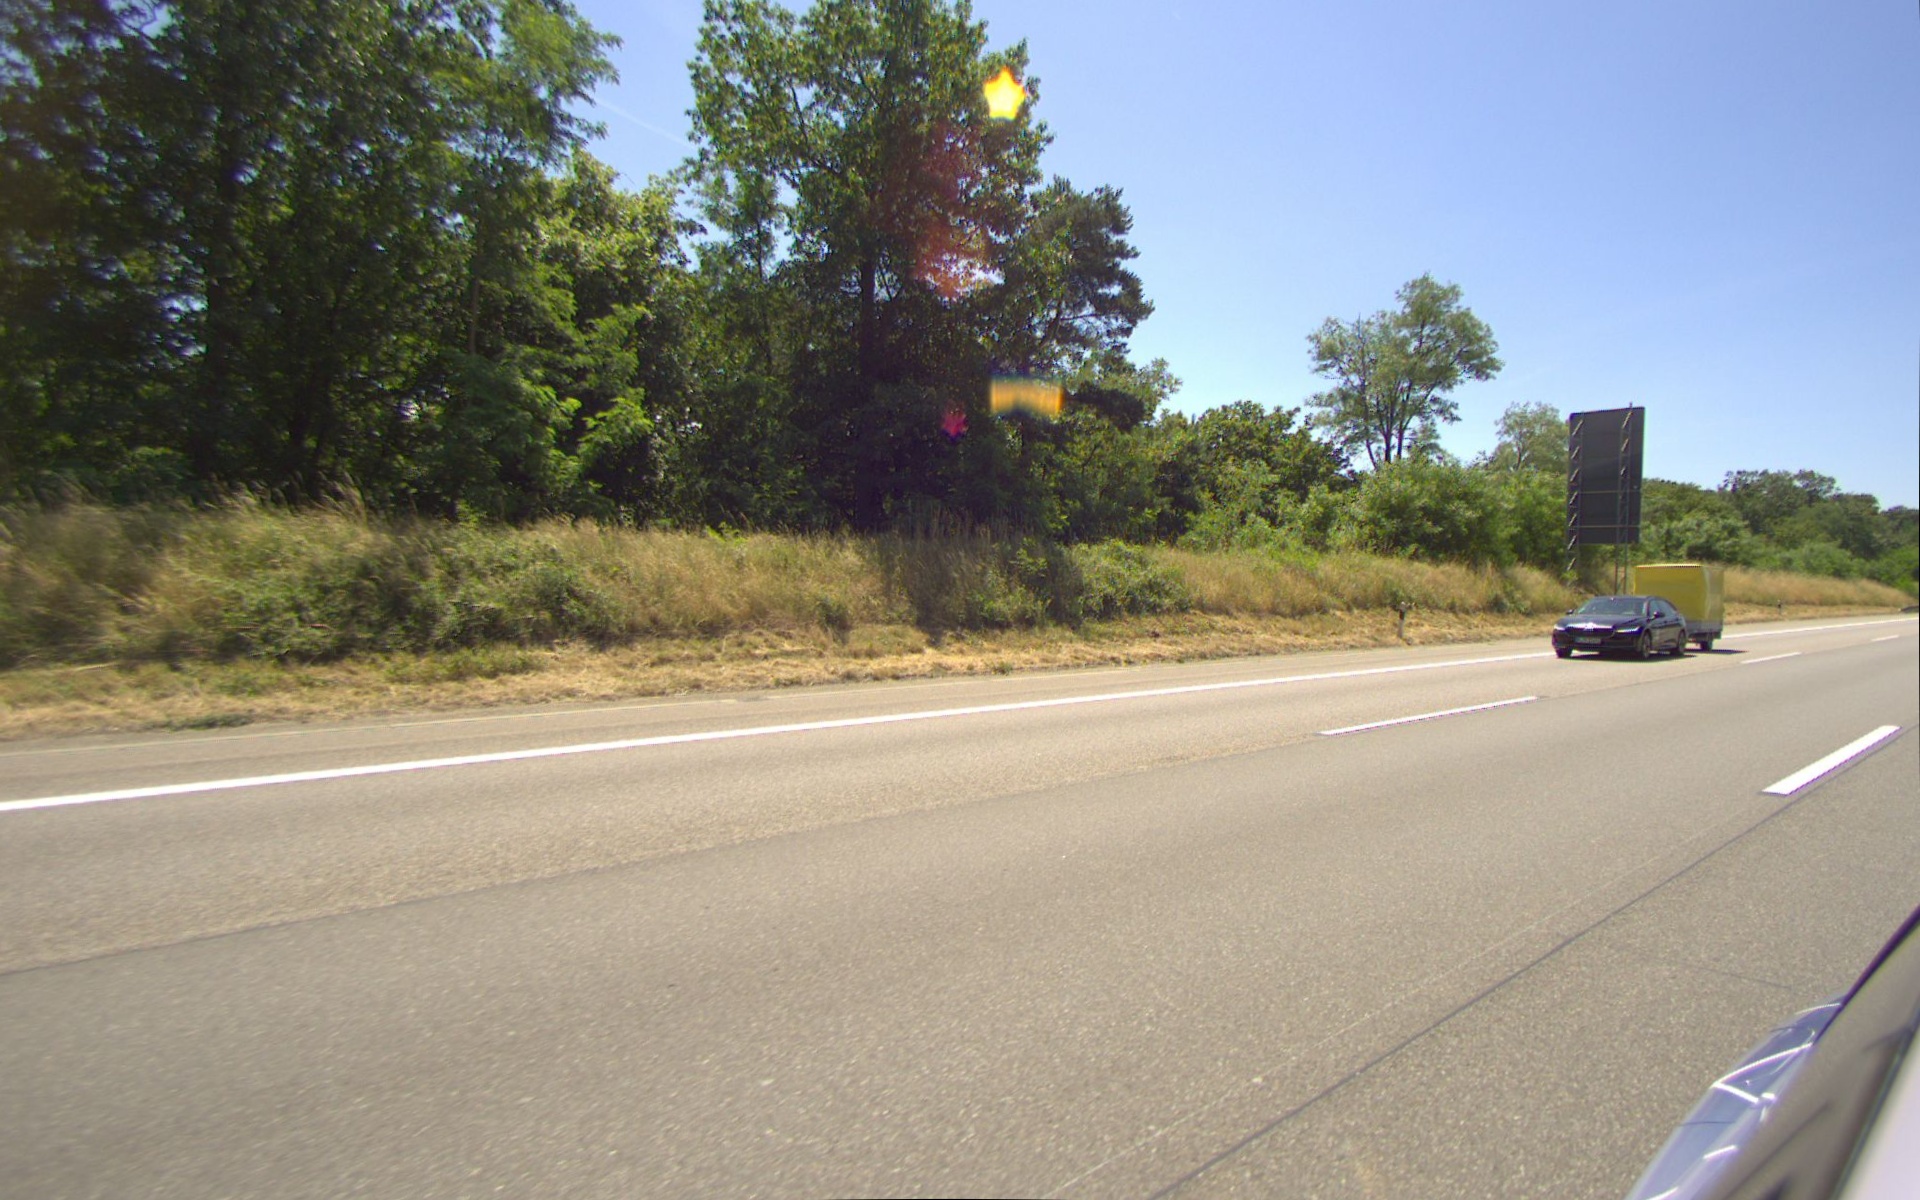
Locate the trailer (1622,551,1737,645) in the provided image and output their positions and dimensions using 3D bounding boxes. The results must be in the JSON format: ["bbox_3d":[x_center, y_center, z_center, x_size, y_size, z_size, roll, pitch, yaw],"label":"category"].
[{"bbox_3d":[19.212,-0.078,26.979,3.773,2.318,1.706,0,1,-42],"label":"trailer"}]

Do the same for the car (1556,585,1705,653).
[{"bbox_3d":[16.051,0.385,24.123,4.705,1.474,1.824,-1,1,-42],"label":"car"}]
